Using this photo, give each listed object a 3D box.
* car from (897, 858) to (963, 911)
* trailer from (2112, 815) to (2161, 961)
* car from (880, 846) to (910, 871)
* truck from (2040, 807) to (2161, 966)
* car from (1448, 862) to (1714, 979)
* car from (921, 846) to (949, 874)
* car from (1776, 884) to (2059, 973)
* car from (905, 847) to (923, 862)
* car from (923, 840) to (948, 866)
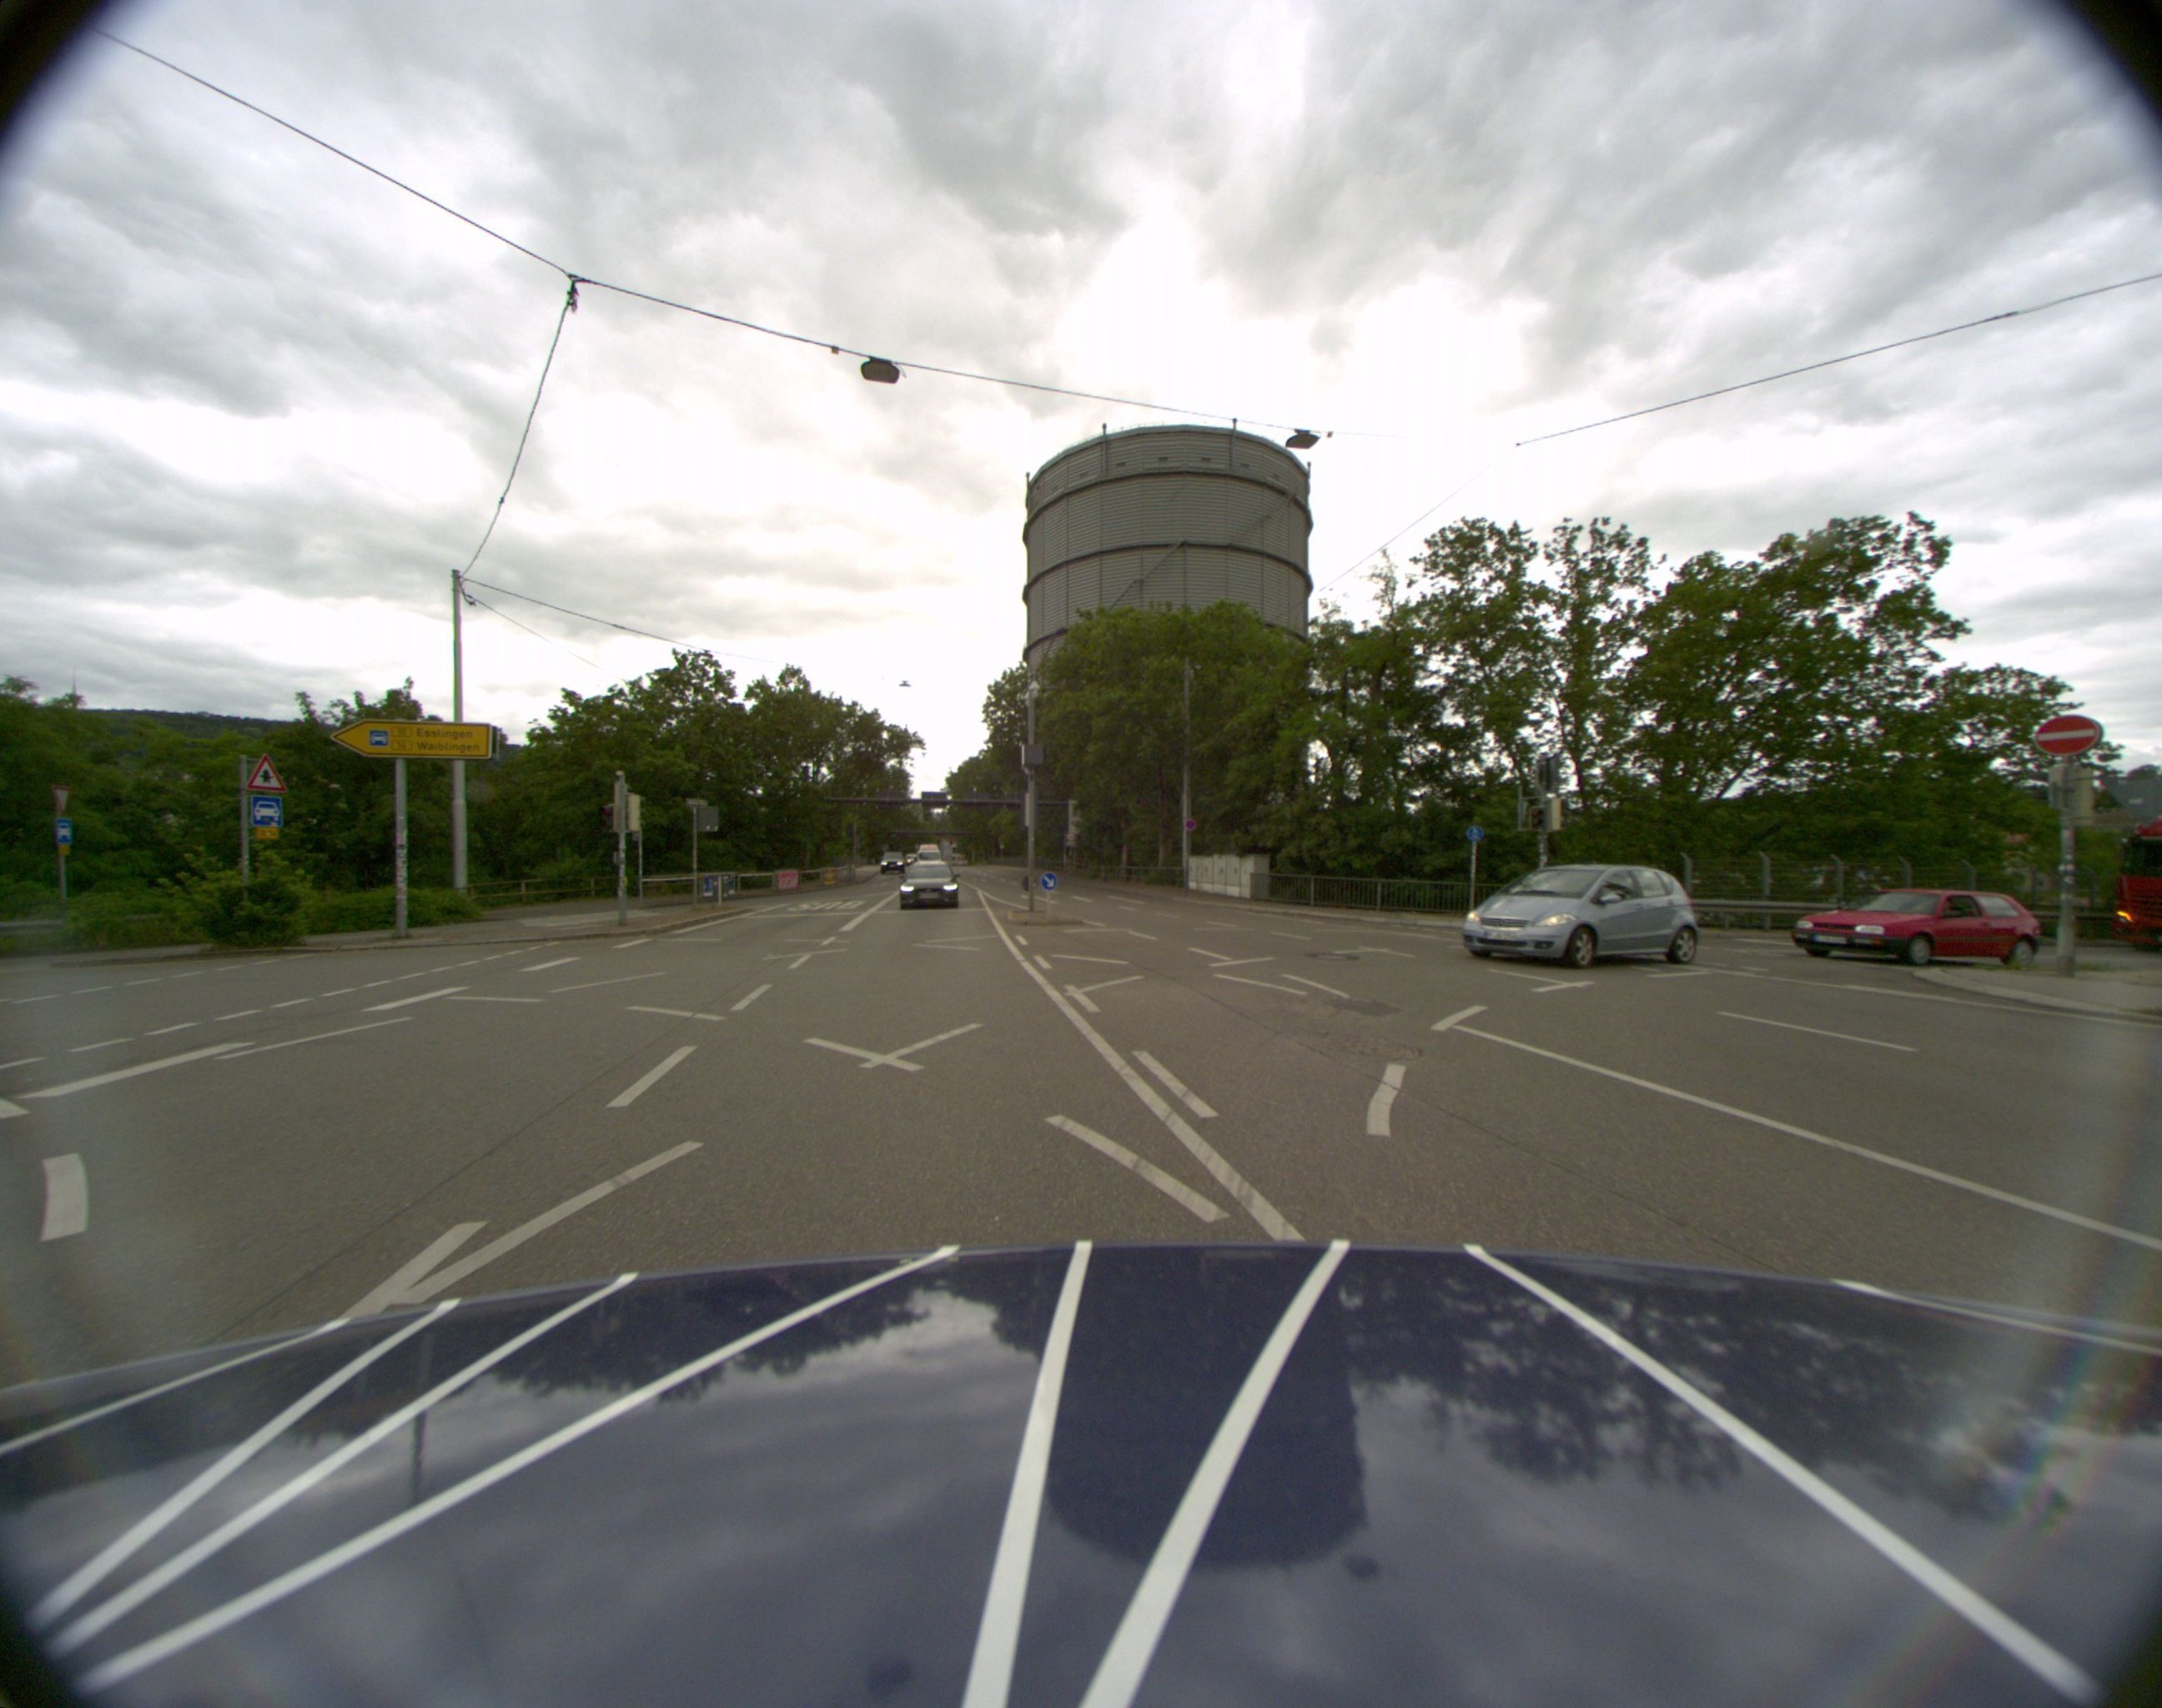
[{"bbox_3d":[-4.893,0.918,25.037,1.935,1.412,4.447,-1,2,-9],"label":"car"},{"bbox_3d":[38.763,1.293,22.780,13.786,4.296,3.668,3,0,-11],"label":"trailer"},{"bbox_3d":[-15.966,0.355,65.434,2.334,1.905,4.941,1,2,-12],"label":"car"},{"bbox_3d":[32.651,1.041,21.615,7.238,4.296,3.668,3,0,-11],"label":"truck"},{"bbox_3d":[7.934,0.998,12.075,3.687,1.594,1.745,2,0,-23],"label":"car"},{"bbox_3d":[-11.058,0.454,57.265,1.935,1.987,4.448,1,-1,-12],"label":"car"},{"bbox_3d":[15.970,1.394,14.603,3.955,1.454,1.747,2,0,-9],"label":"car"},{"bbox_3d":[-24.678,0.049,112.266,2.333,1.905,5.394,1,1,-9],"label":"car"},{"bbox_3d":[-14.949,-0.133,77.814,2.334,2.509,4.943,2,0,-12],"label":"car"}]
